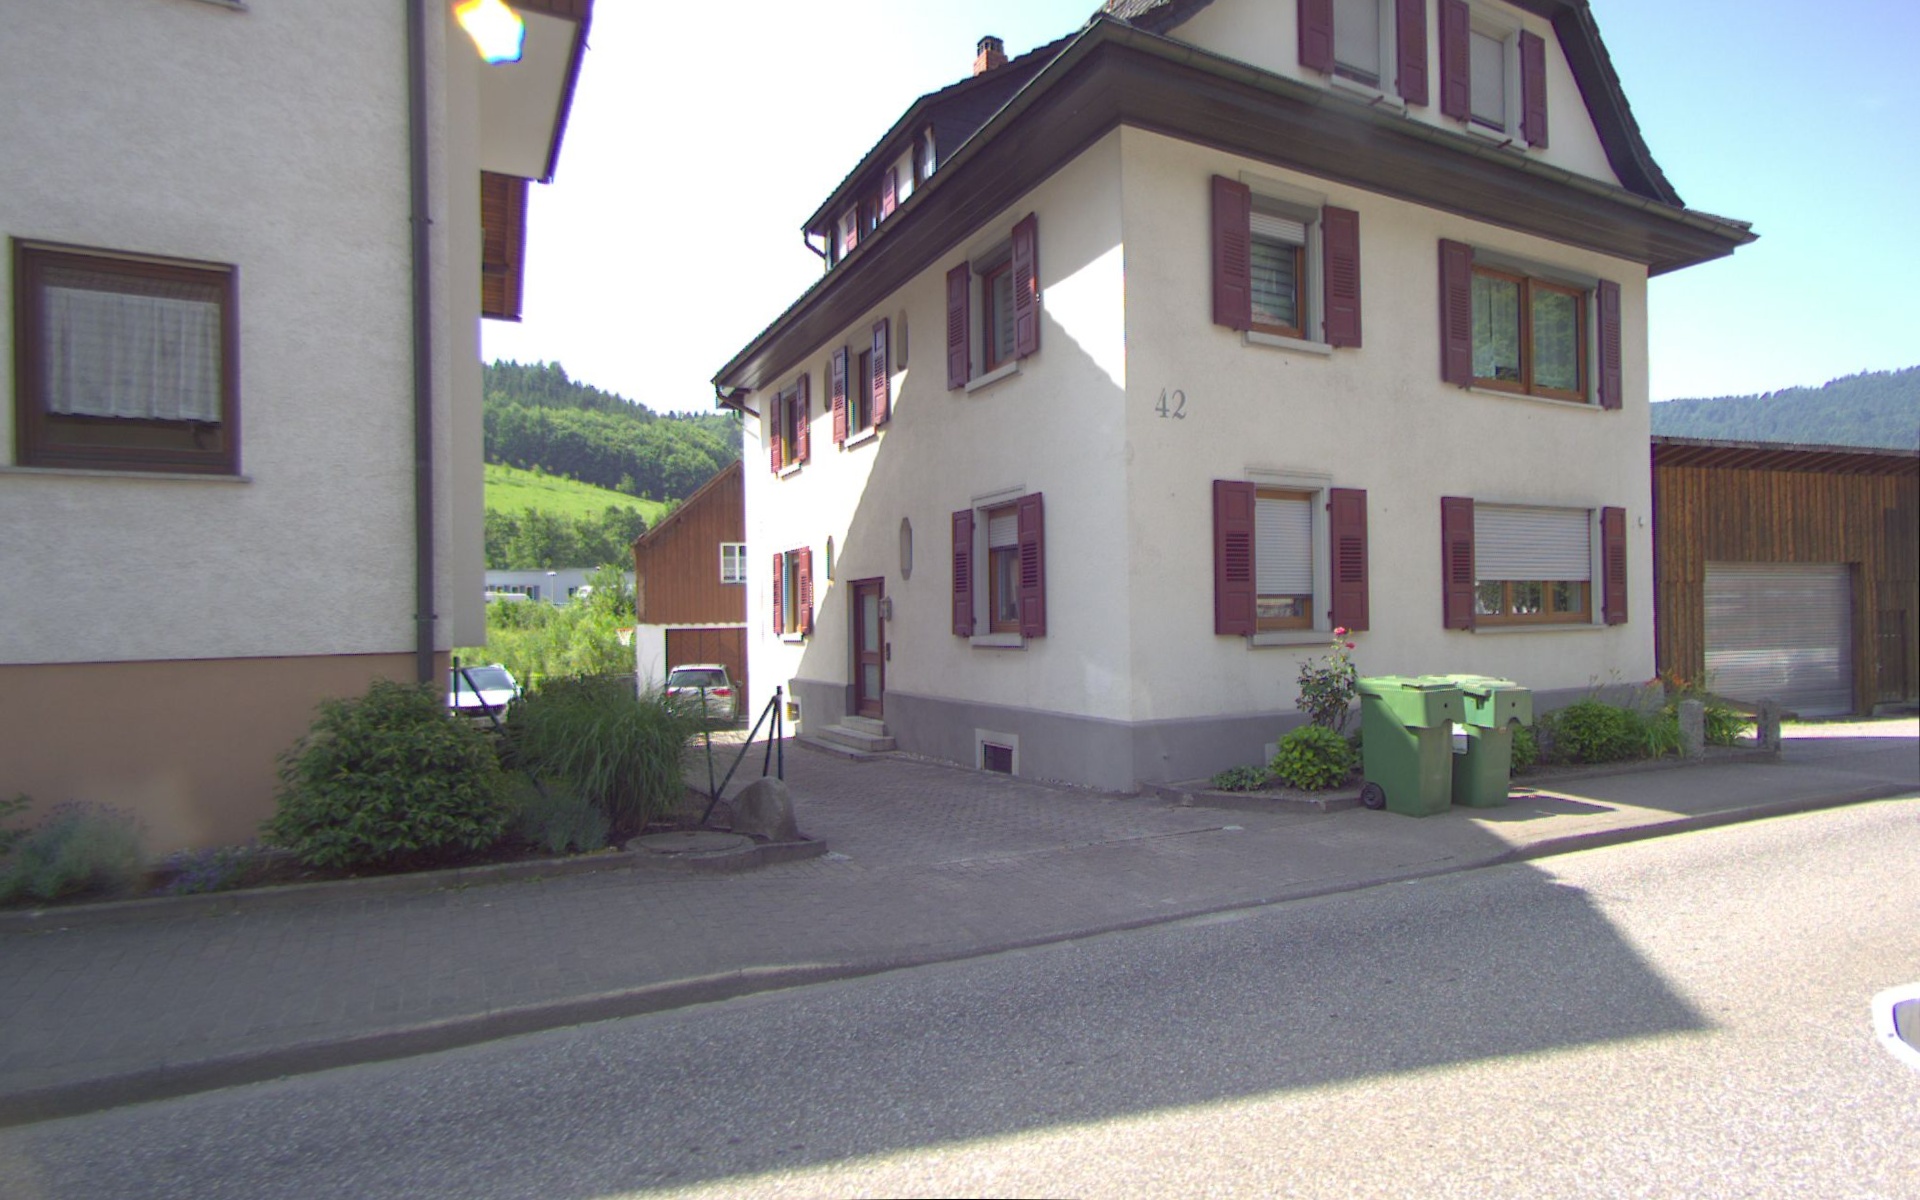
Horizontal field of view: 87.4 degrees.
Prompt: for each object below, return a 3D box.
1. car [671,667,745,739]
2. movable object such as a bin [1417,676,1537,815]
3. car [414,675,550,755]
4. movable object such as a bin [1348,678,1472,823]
[{"bbox_3d":[-6.267,2.537,25.222,1.586,1.604,2.674,0,-2,-10],"label":"car"},{"bbox_3d":[4.384,1.203,8.535,0.614,1.081,0.672,1,-2,-30],"label":"movable object such as a bin"},{"bbox_3d":[-9.199,2.145,19.223,1.505,1.371,3.248,2,-5,-42],"label":"car"},{"bbox_3d":[3.673,1.200,8.218,0.646,1.081,0.672,1,-2,-30],"label":"movable object such as a bin"}]
